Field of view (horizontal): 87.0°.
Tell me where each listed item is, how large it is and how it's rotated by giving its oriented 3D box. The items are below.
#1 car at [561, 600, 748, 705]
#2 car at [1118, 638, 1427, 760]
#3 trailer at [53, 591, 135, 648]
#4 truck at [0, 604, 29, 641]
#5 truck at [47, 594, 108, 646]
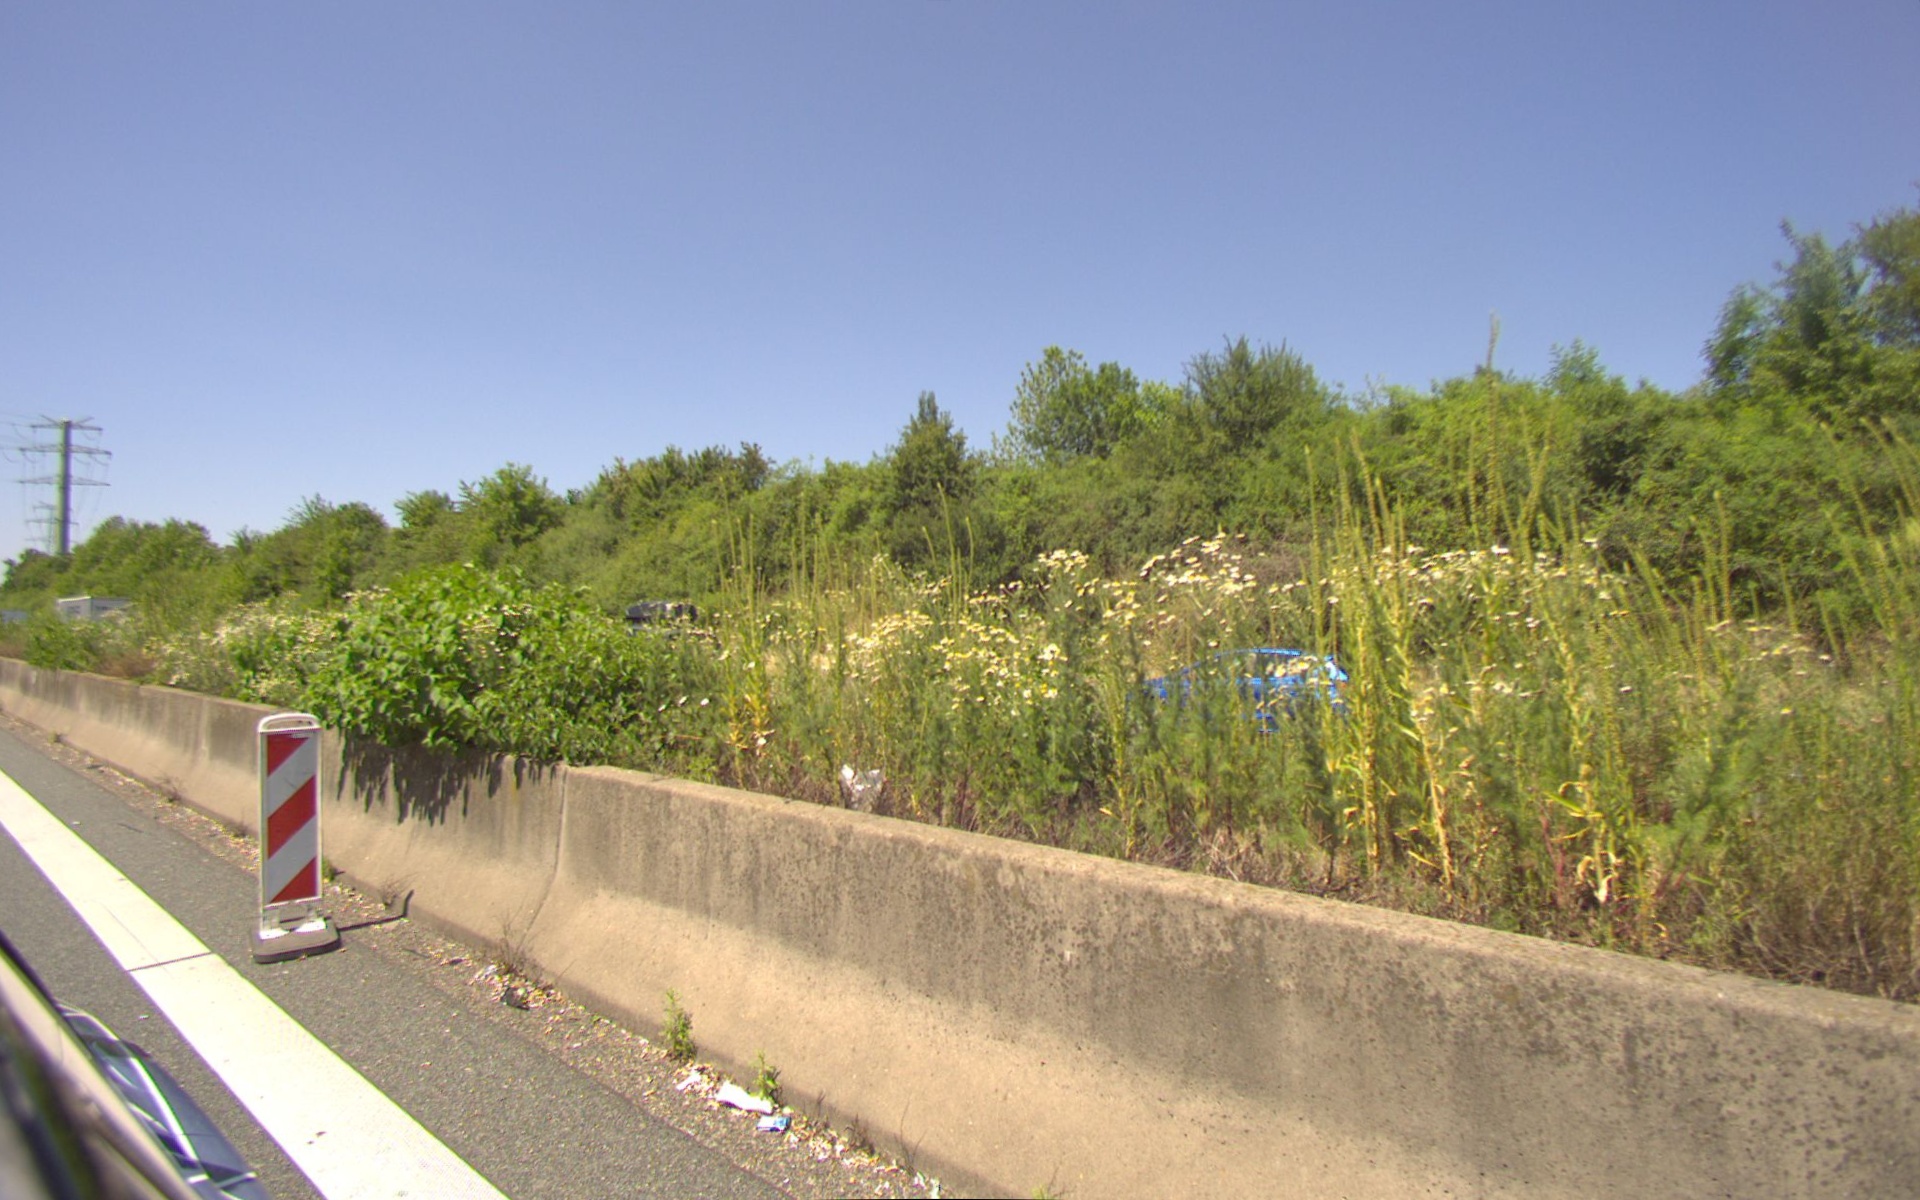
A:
[{"bbox_3d":[-6.112,0.992,20.038,3.998,1.877,1.685,-1,-2,41],"label":"car"},{"bbox_3d":[4.453,1.321,14.760,3.998,1.515,1.653,-1,-2,41],"label":"car"},{"bbox_3d":[-70.733,1.638,82.492,14.014,4.199,2.985,-1,-5,42],"label":"trailer"},{"bbox_3d":[-107.709,2.546,114.161,9.025,3.918,2.734,-1,-5,41],"label":"truck"},{"bbox_3d":[-76.426,1.753,87.604,5.803,4.199,2.985,-1,-5,41],"label":"truck"}]
